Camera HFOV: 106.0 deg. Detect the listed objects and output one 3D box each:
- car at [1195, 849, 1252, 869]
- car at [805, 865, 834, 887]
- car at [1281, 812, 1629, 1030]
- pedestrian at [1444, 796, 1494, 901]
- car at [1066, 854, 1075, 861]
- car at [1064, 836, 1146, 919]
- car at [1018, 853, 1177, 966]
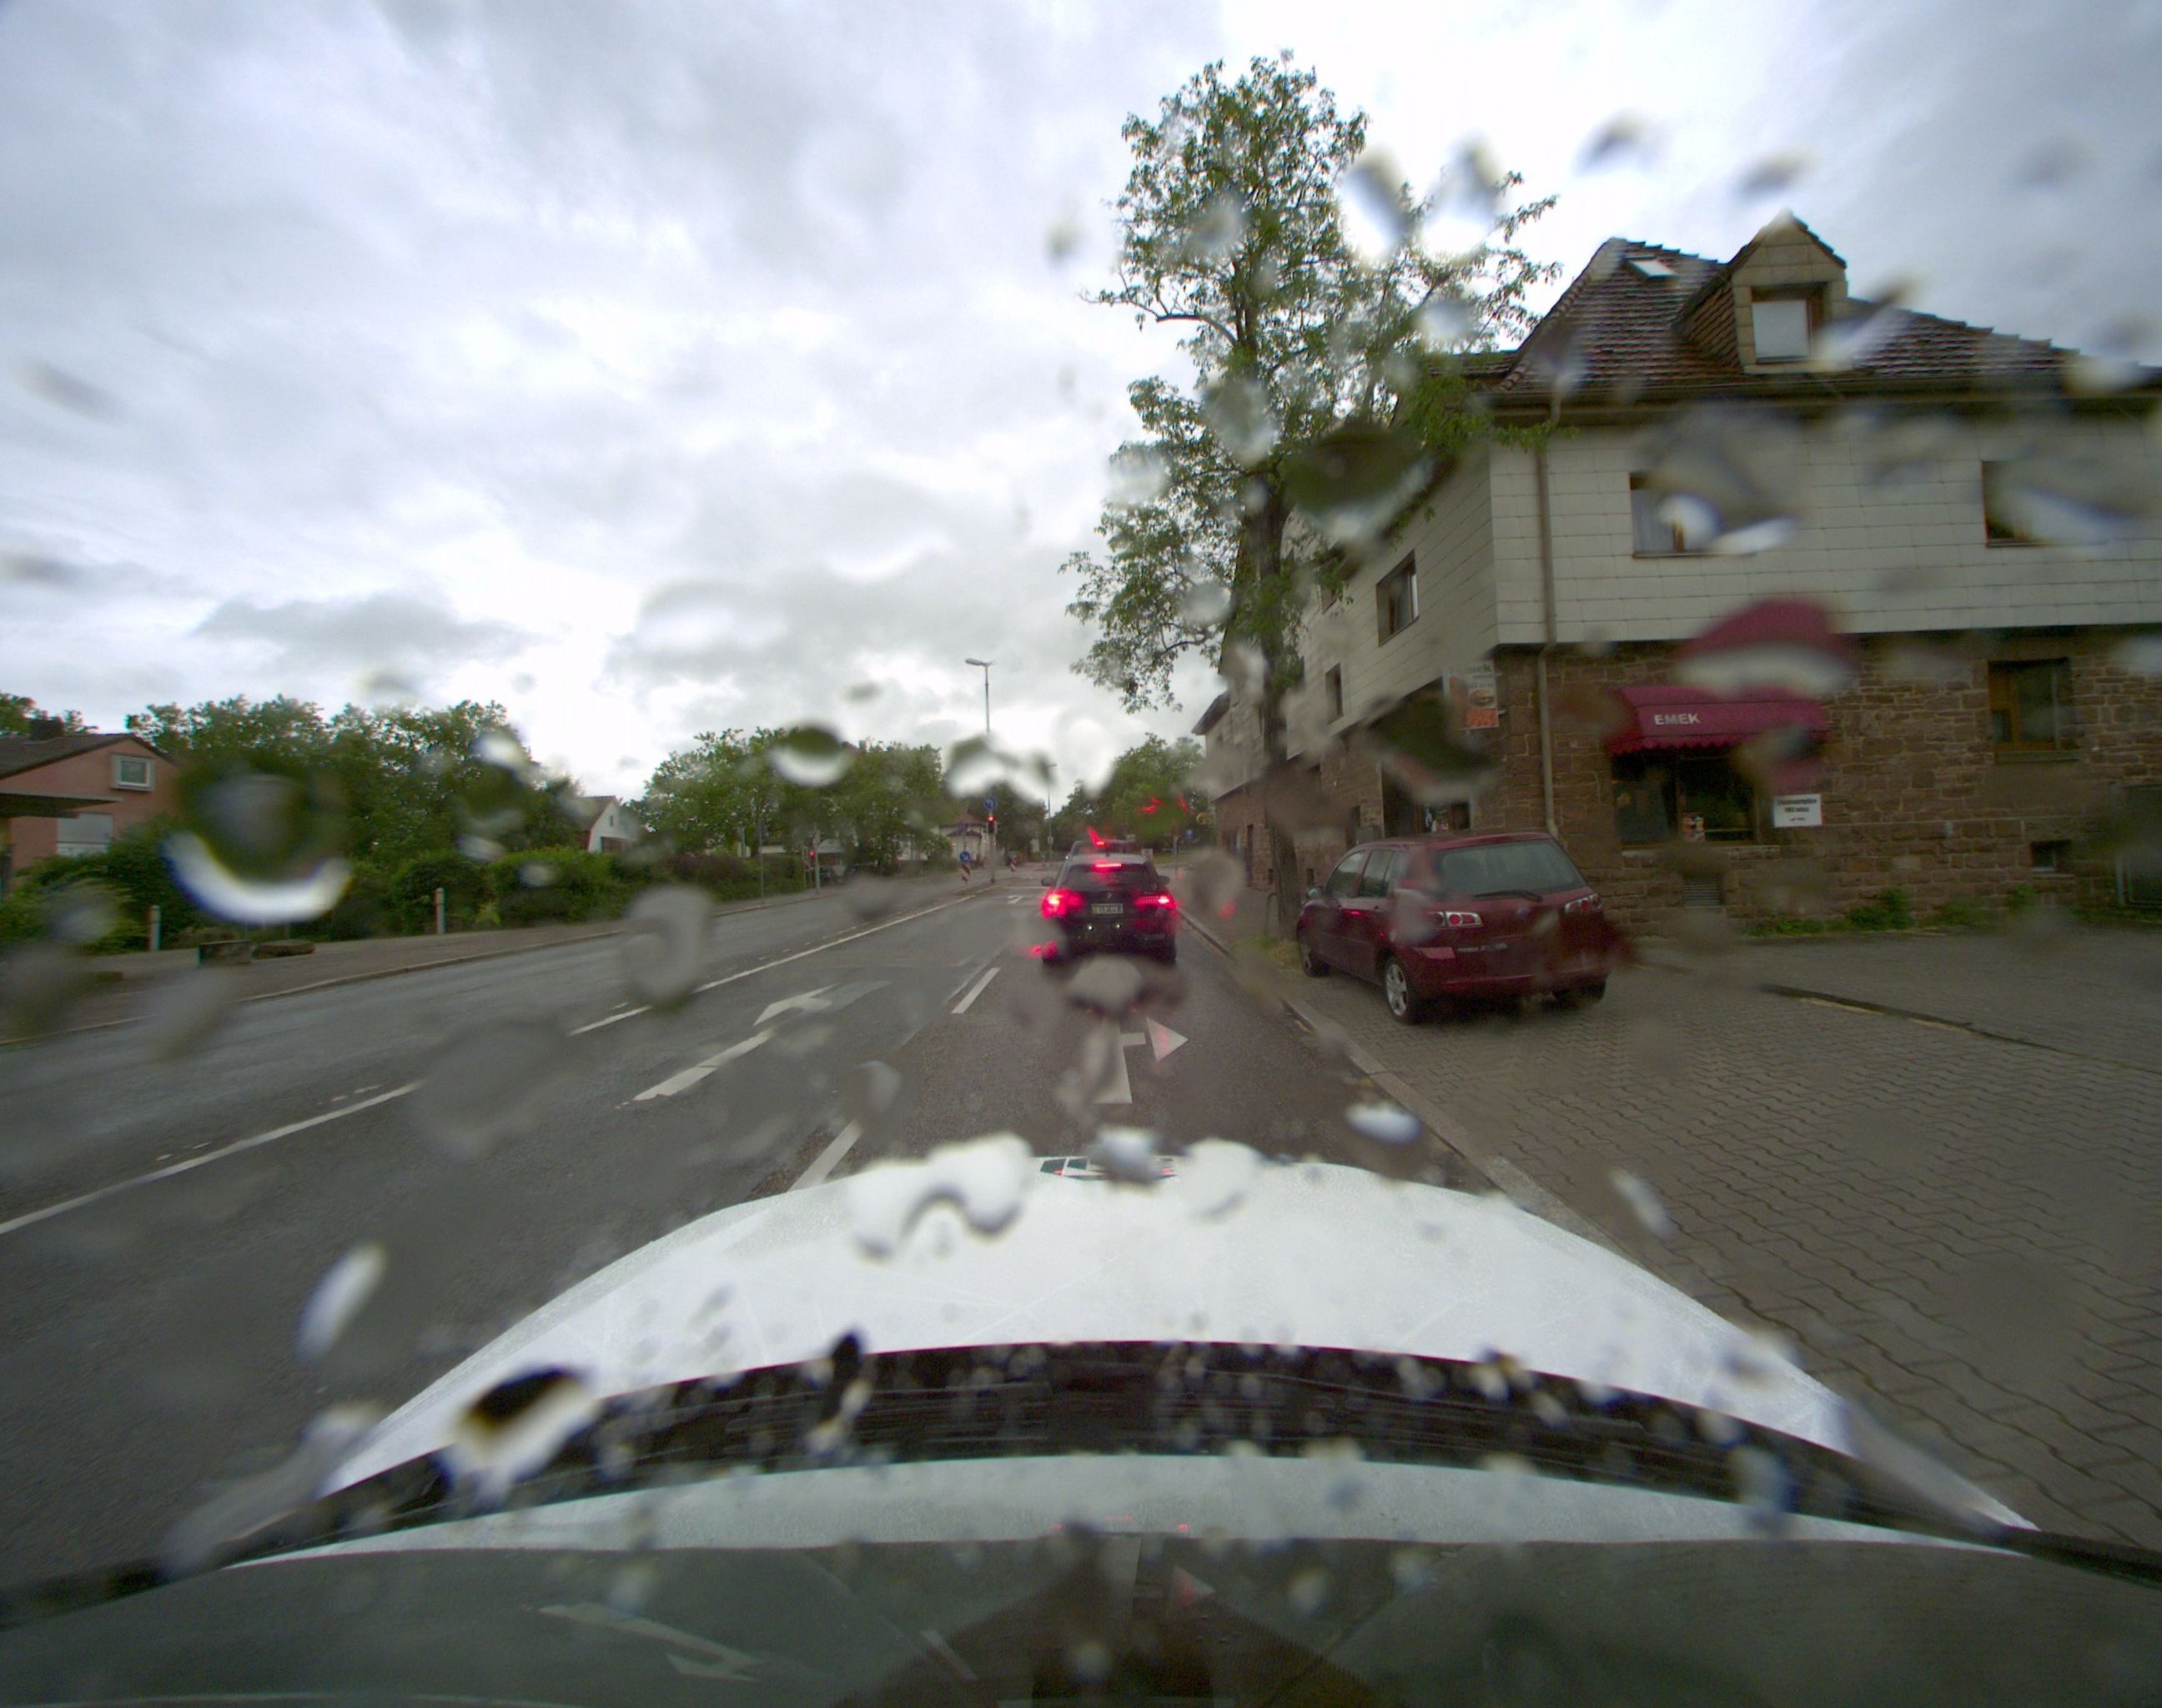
[{"bbox_3d":[12.371,0.428,70.882,4.479,1.587,2.059,-1,0,-17],"label":"car"},{"bbox_3d":[-20.336,1.675,63.329,2.000,1.552,3.973,-1,0,-20],"label":"car"},{"bbox_3d":[3.223,0.477,7.851,1.579,1.490,3.626,-5,1,0],"label":"car"},{"bbox_3d":[6.905,-0.097,14.511,0.635,1.839,0.483,-1,0,1],"label":"pedestrian"},{"bbox_3d":[-2.016,0.677,155.112,1.459,1.398,3.322,-1,0,1],"label":"car"},{"bbox_3d":[0.532,0.511,20.156,1.778,1.817,3.999,-1,0,0],"label":"car"},{"bbox_3d":[0.200,0.725,12.797,2.058,1.446,4.481,-1,0,-1],"label":"car"}]
